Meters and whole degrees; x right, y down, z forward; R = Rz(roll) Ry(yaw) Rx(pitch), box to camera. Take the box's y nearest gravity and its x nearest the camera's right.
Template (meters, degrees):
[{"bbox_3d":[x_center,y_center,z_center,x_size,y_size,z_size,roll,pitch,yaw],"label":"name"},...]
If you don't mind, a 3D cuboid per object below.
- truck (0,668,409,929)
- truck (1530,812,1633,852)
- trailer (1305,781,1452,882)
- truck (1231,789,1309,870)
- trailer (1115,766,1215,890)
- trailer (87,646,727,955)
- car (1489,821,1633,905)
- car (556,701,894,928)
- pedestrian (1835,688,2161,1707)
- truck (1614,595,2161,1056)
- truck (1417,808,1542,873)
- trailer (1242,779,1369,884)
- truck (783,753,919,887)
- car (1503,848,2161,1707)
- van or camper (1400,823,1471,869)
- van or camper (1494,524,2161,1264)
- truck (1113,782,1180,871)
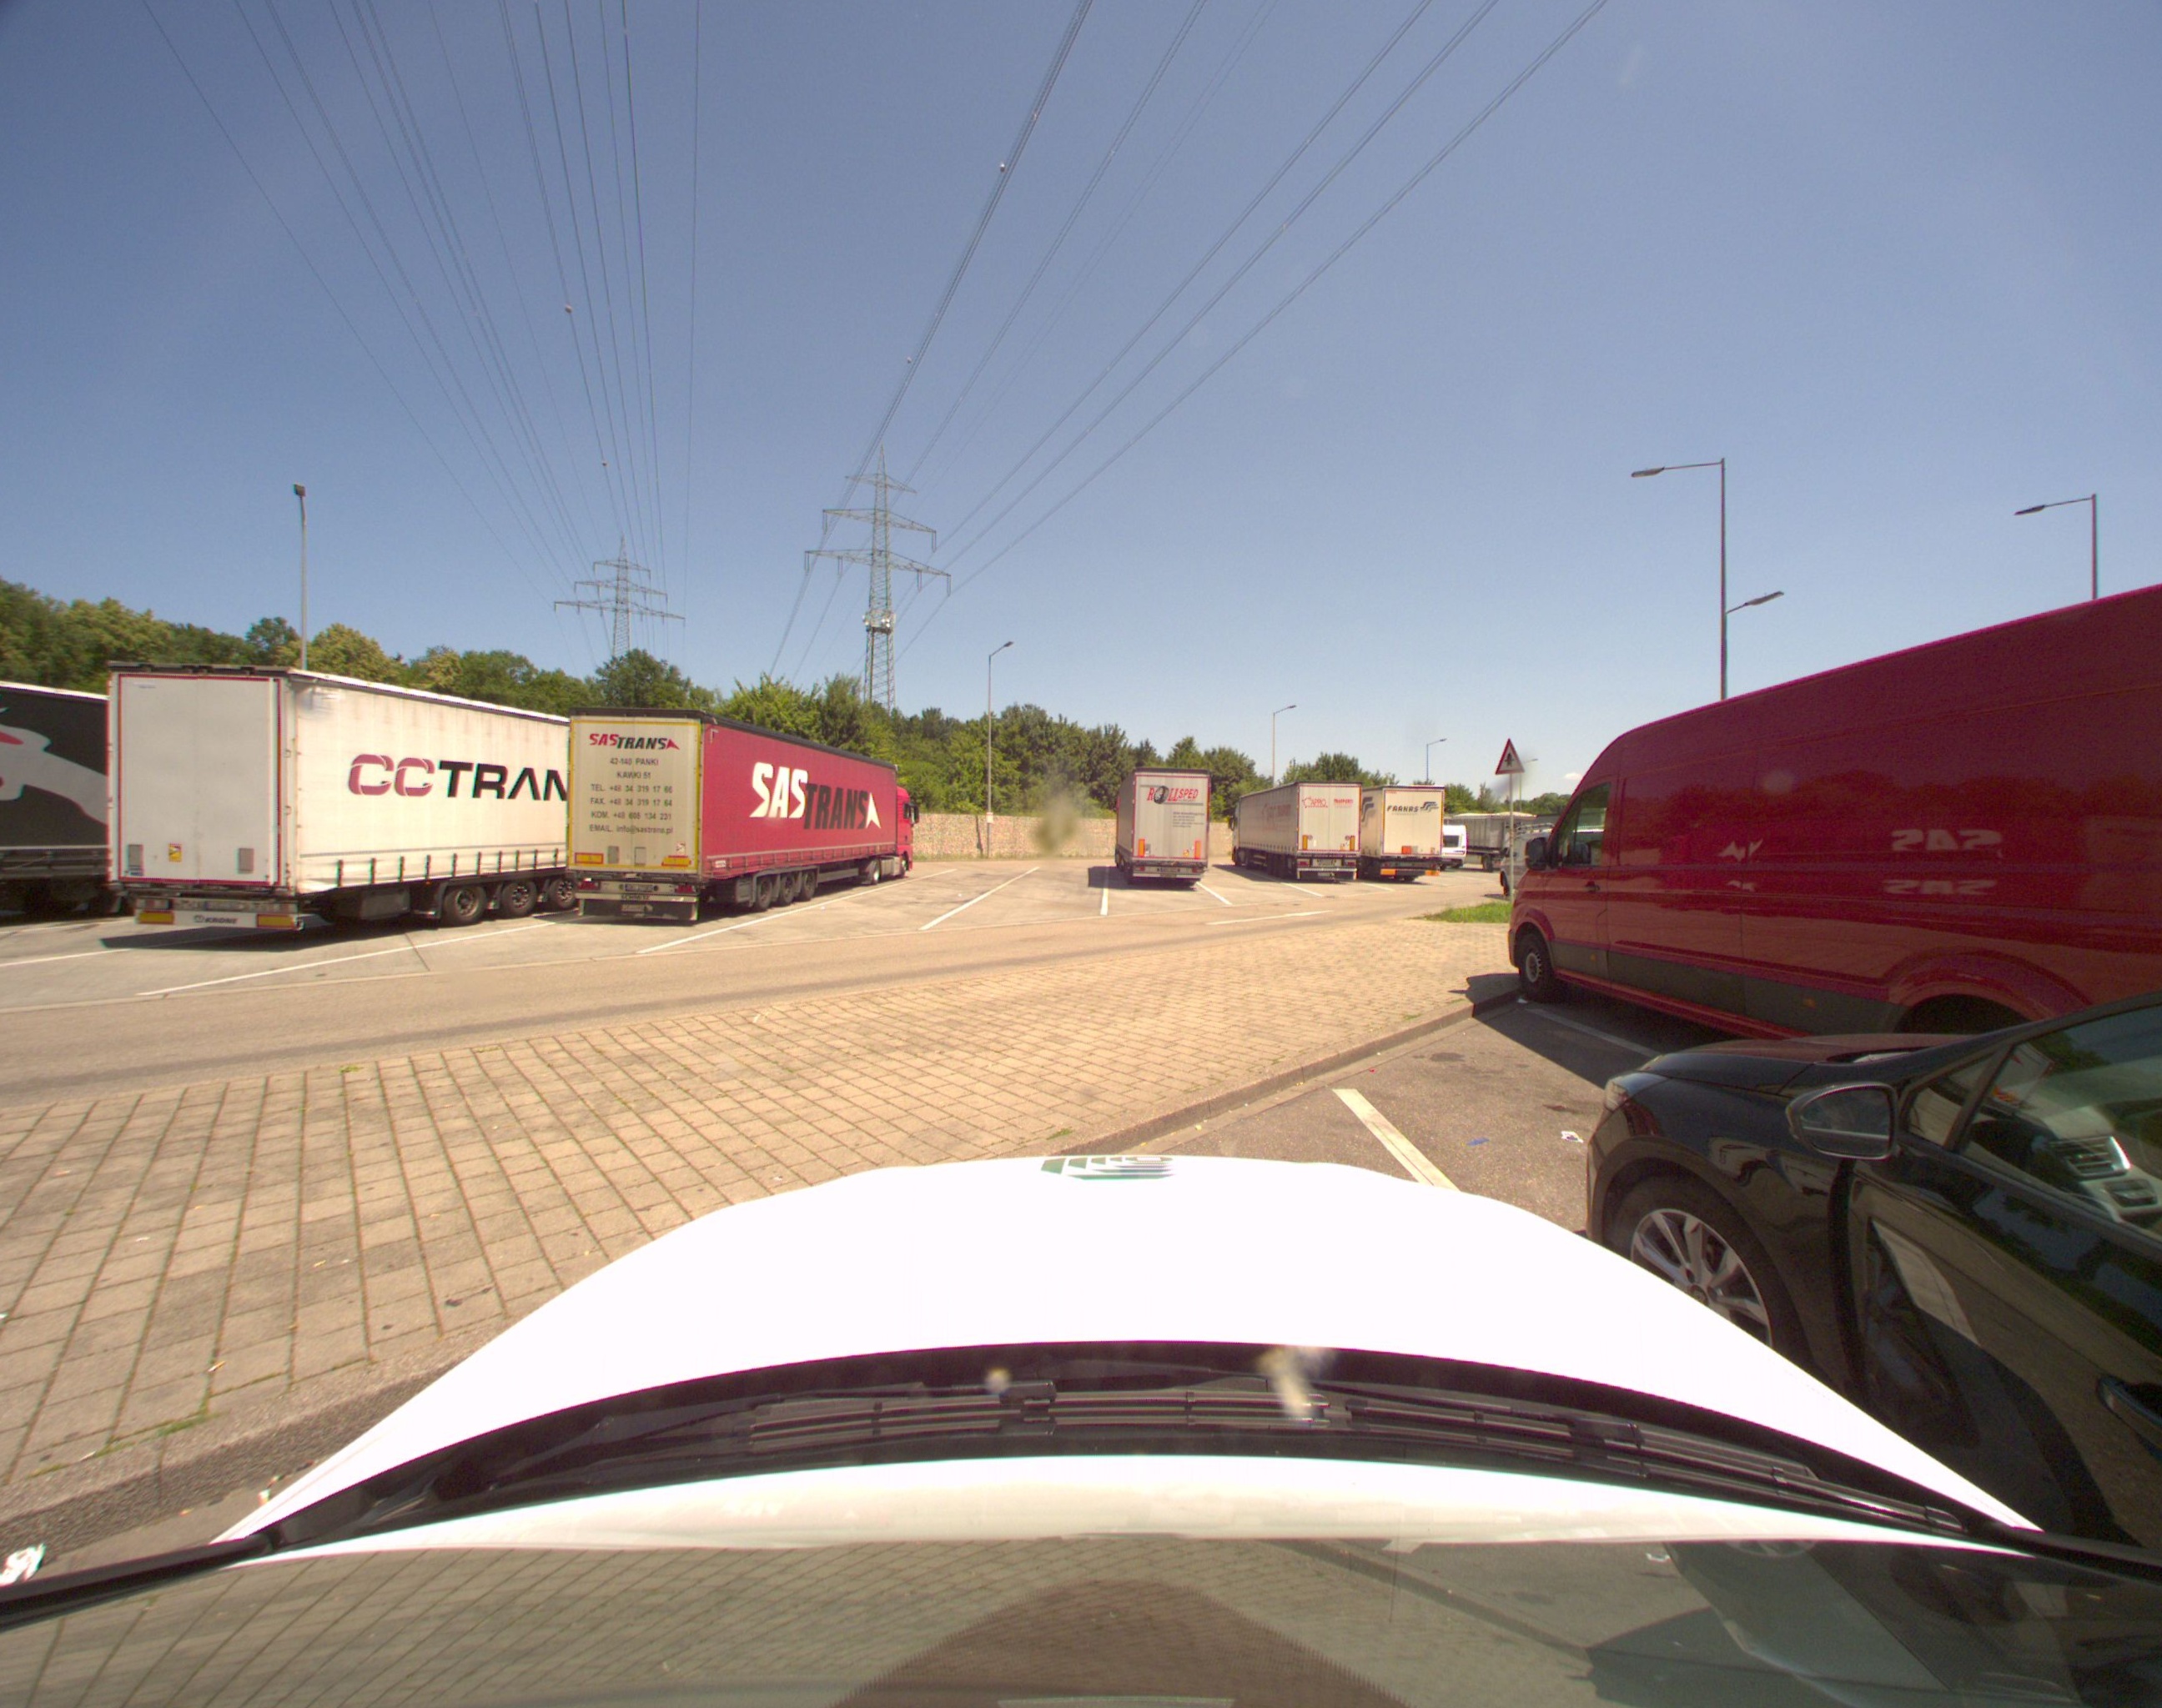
[{"bbox_3d":[-18.623,-1.023,16.270,2.803,4.190,8.793,0,2,2],"label":"truck"},{"bbox_3d":[38.027,-1.647,62.381,2.117,2.820,9.783,-1,1,2],"label":"truck"},{"bbox_3d":[13.635,-1.125,38.879,2.856,4.037,12.445,0,2,2],"label":"trailer"},{"bbox_3d":[10.173,-1.370,44.535,2.856,4.037,6.960,0,2,2],"label":"truck"},{"bbox_3d":[3.039,-1.106,33.730,2.857,4.037,14.244,0,2,1],"label":"trailer"},{"bbox_3d":[-12.169,-0.977,17.790,2.803,4.266,12.947,0,2,2],"label":"trailer"},{"bbox_3d":[13.682,0.197,23.636,1.980,2.150,5.330,-1,1,12],"label":"car"},{"bbox_3d":[-8.055,-0.936,21.434,2.686,4.112,12.943,1,2,2],"label":"car"},{"bbox_3d":[1.602,0.589,1.168,0.646,1.586,0.653,0,1,31],"label":"pedestrian"},{"bbox_3d":[7.934,-0.213,7.066,2.455,2.792,6.978,0,1,4],"label":"truck"},{"bbox_3d":[24.293,-0.959,50.502,2.478,3.568,11.429,0,2,2],"label":"truck"},{"bbox_3d":[9.948,-1.105,37.903,2.856,4.037,12.445,0,2,2],"label":"trailer"},{"bbox_3d":[-7.756,-1.154,28.350,2.686,4.112,6.243,1,2,2],"label":"truck"},{"bbox_3d":[2.450,0.753,1.142,1.612,1.483,3.762,-1,1,-4],"label":"car"},{"bbox_3d":[20.634,-0.481,47.688,2.096,2.561,5.376,-1,1,3],"label":"van or camper"},{"bbox_3d":[5.133,0.098,5.494,1.986,2.654,6.490,-1,1,6],"label":"van or camper"},{"bbox_3d":[3.132,-1.395,40.818,2.857,4.037,7.029,0,2,1],"label":"truck"}]
